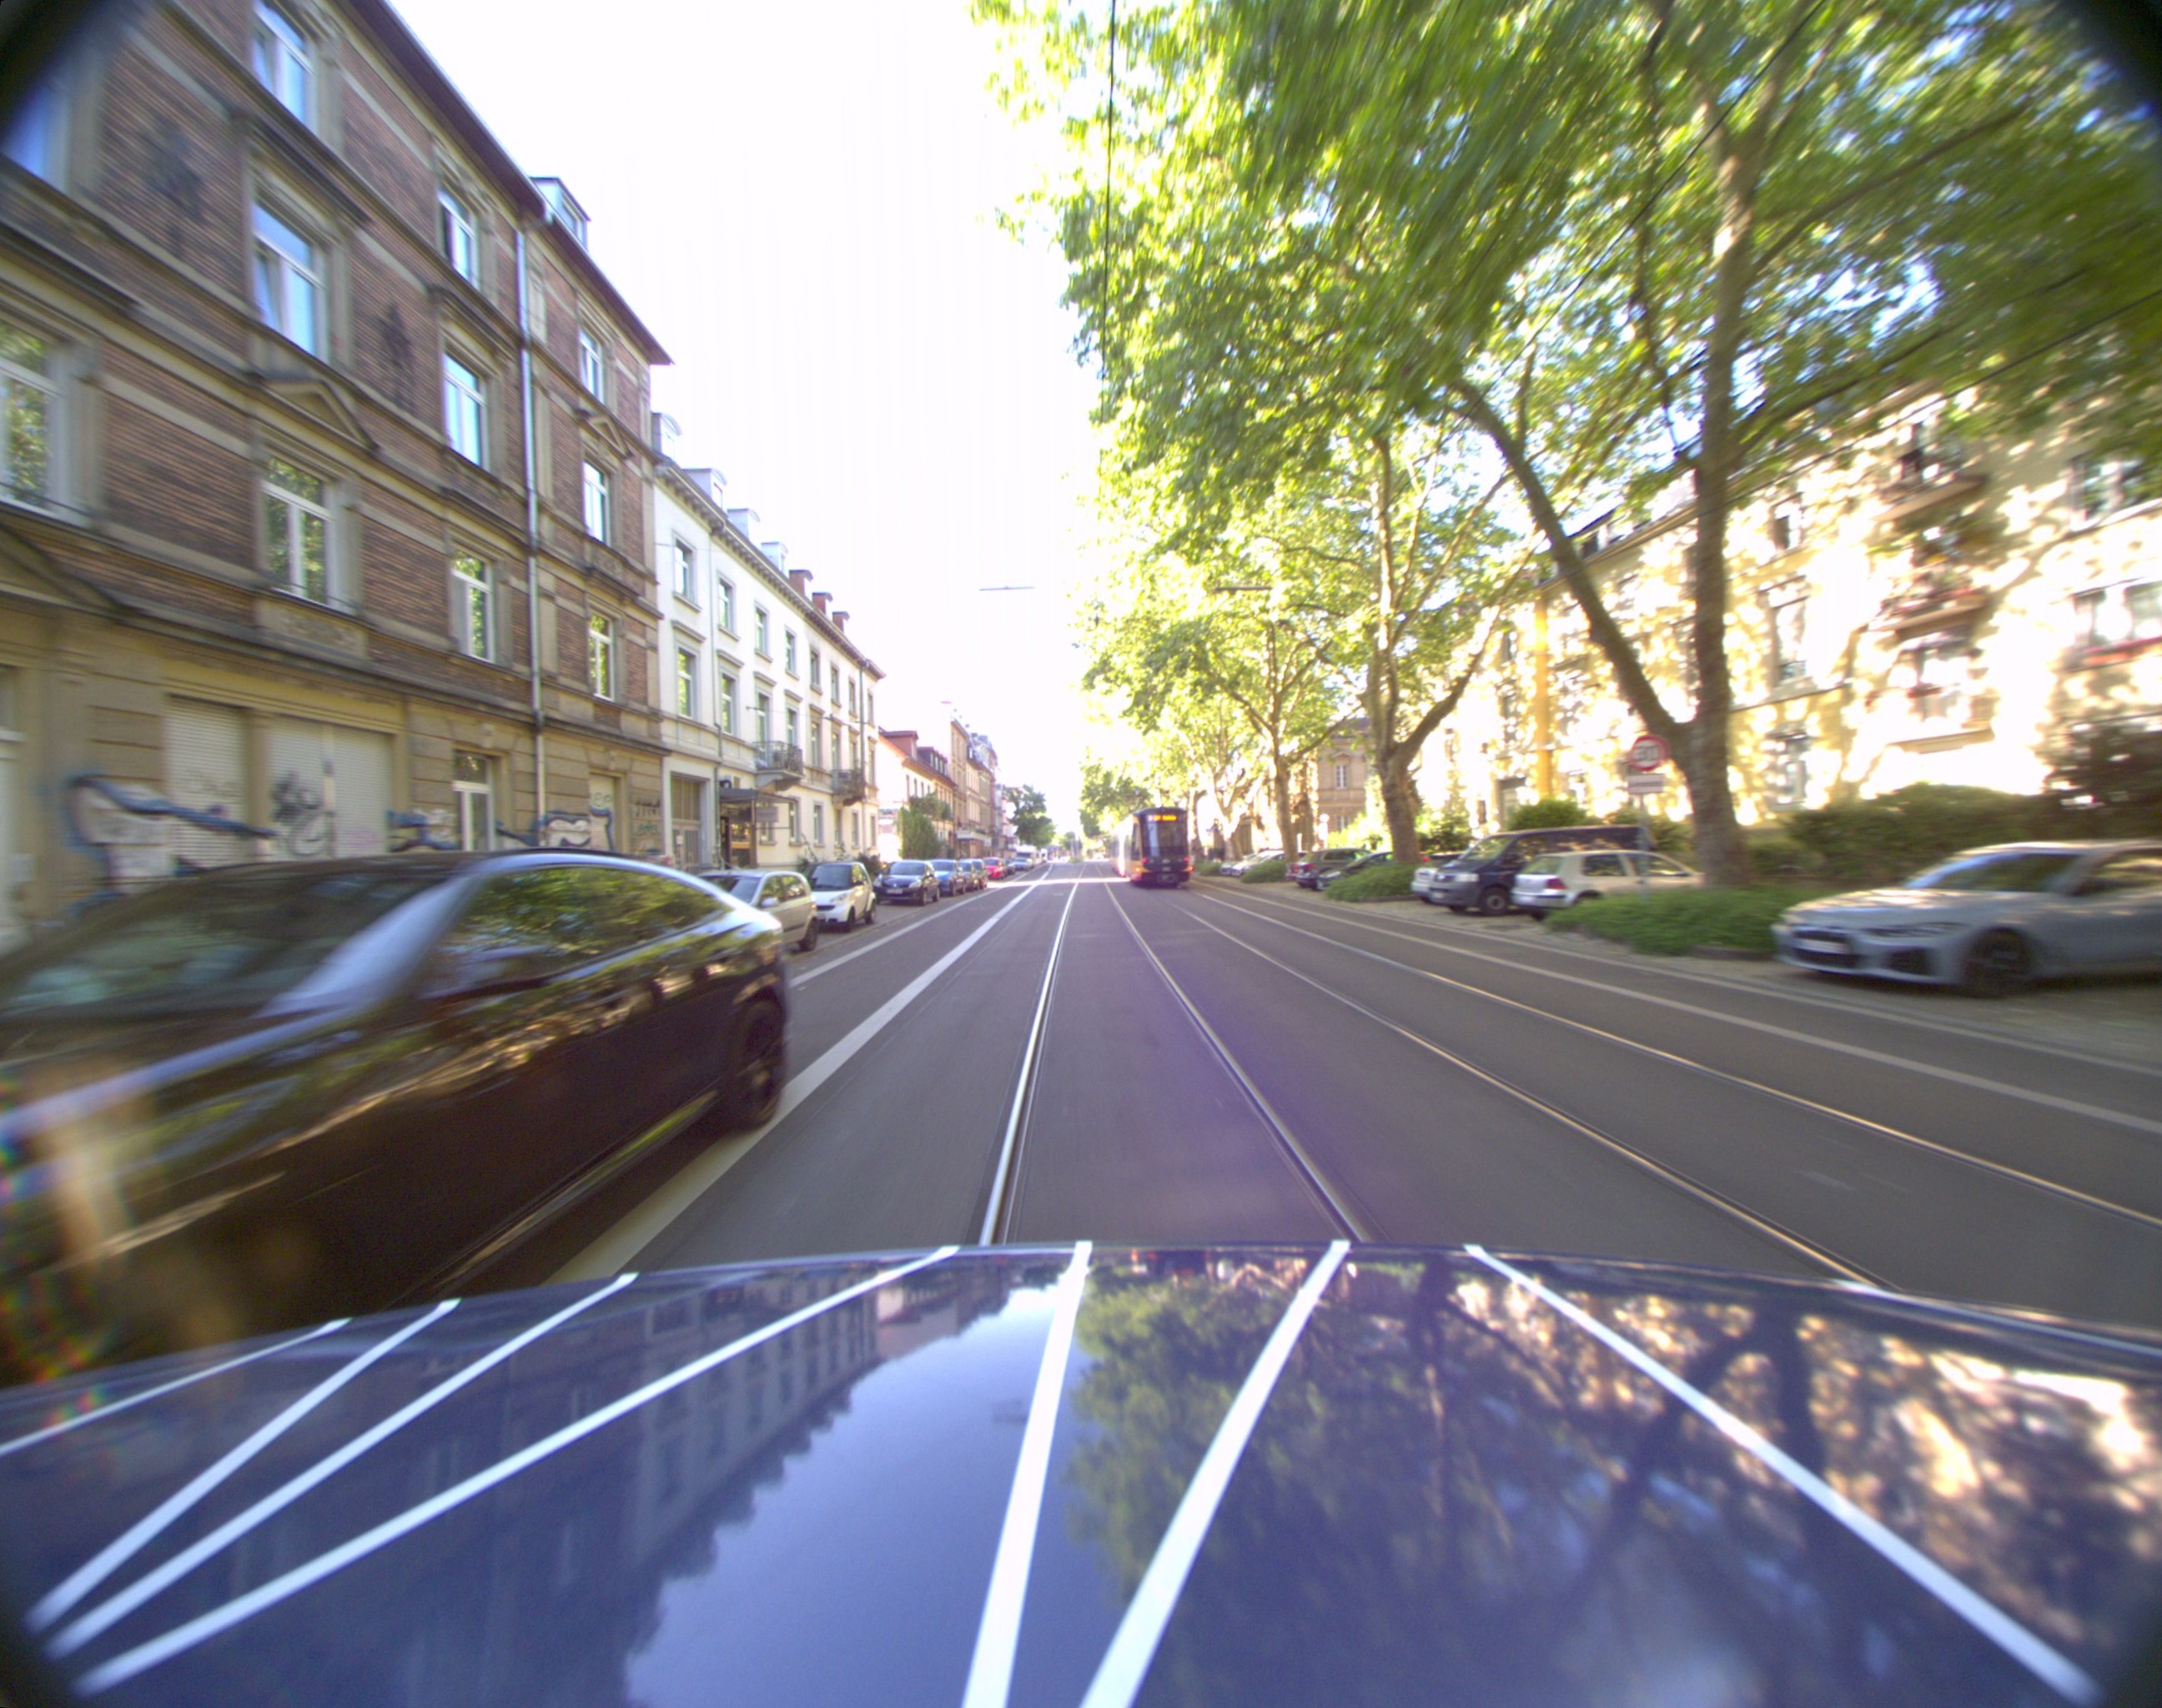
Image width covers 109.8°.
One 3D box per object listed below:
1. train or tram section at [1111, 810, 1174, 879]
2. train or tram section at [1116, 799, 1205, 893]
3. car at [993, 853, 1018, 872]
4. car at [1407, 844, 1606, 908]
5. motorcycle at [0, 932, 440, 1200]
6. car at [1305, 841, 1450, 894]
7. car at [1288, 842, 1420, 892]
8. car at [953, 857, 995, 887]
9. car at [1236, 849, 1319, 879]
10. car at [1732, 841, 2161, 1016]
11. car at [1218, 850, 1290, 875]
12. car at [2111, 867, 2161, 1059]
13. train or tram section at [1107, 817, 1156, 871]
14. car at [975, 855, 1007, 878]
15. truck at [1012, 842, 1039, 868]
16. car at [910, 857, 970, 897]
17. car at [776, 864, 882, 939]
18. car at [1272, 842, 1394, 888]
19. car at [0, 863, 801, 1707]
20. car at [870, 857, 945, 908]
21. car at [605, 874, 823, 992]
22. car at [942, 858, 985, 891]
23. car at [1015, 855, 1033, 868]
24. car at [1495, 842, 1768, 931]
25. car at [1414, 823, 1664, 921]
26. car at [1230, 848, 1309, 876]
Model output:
[{"bbox_3d":[3.573,-0.586,47.164,2.944,3.598,11.257,-3,1,1],"label":"train or tram section"},{"bbox_3d":[3.447,-0.405,36.002,2.944,3.598,11.061,-3,1,1],"label":"train or tram section"},{"bbox_3d":[-6.365,0.704,64.321,1.702,1.559,3.686,0,0,1],"label":"car"},{"bbox_3d":[11.356,0.579,20.447,4.366,1.400,1.658,-3,0,0],"label":"car"},{"bbox_3d":[-5.422,1.223,4.653,2.143,1.281,0.642,-2,1,-22],"label":"motorcycle"},{"bbox_3d":[10.577,0.479,27.322,4.366,1.603,2.000,-3,0,0],"label":"car"},{"bbox_3d":[10.577,0.491,29.642,4.366,1.603,2.000,-3,0,0],"label":"car"},{"bbox_3d":[-5.796,0.954,41.553,1.729,1.559,3.686,0,0,1],"label":"car"},{"bbox_3d":[10.395,0.498,40.337,3.998,1.422,1.527,-2,1,-4],"label":"car"},{"bbox_3d":[10.470,0.699,8.302,4.943,1.437,2.000,-3,0,0],"label":"car"},{"bbox_3d":[10.422,0.475,45.985,3.998,1.367,1.411,-2,1,-4],"label":"car"},{"bbox_3d":[10.592,0.764,5.371,4.156,1.489,1.904,-3,1,-2],"label":"car"},{"bbox_3d":[3.706,-0.761,59.011,2.944,3.598,12.409,-3,1,1],"label":"train or tram section"},{"bbox_3d":[-6.175,0.840,52.491,1.702,1.559,3.686,0,0,1],"label":"car"},{"bbox_3d":[-7.118,0.062,97.921,2.842,3.145,7.290,-3,1,-1],"label":"truck"},{"bbox_3d":[-5.887,0.916,32.200,1.729,1.497,3.907,3,0,1],"label":"car"},{"bbox_3d":[-5.738,1.028,17.592,1.514,1.534,2.820,0,1,0],"label":"car"},{"bbox_3d":[10.488,0.459,31.834,4.366,1.603,2.000,-3,0,0],"label":"car"},{"bbox_3d":[-2.929,0.951,2.839,1.949,1.694,4.630,-2,0,1],"label":"car"},{"bbox_3d":[-5.779,0.896,25.762,1.635,1.497,3.906,3,0,-1],"label":"car"},{"bbox_3d":[-5.559,1.110,12.064,1.610,1.444,3.741,0,1,1],"label":"car"},{"bbox_3d":[-5.680,0.974,37.061,1.542,1.497,3.358,0,0,1],"label":"car"},{"bbox_3d":[-6.237,0.785,83.123,1.702,1.324,3.686,0,0,1],"label":"car"},{"bbox_3d":[10.865,0.610,15.227,4.068,1.437,1.869,-3,0,0],"label":"car"},{"bbox_3d":[10.596,0.402,17.819,4.639,1.896,1.922,-3,0,-2],"label":"car"},{"bbox_3d":[10.618,0.416,42.926,3.998,1.422,1.600,-2,1,-4],"label":"car"}]
